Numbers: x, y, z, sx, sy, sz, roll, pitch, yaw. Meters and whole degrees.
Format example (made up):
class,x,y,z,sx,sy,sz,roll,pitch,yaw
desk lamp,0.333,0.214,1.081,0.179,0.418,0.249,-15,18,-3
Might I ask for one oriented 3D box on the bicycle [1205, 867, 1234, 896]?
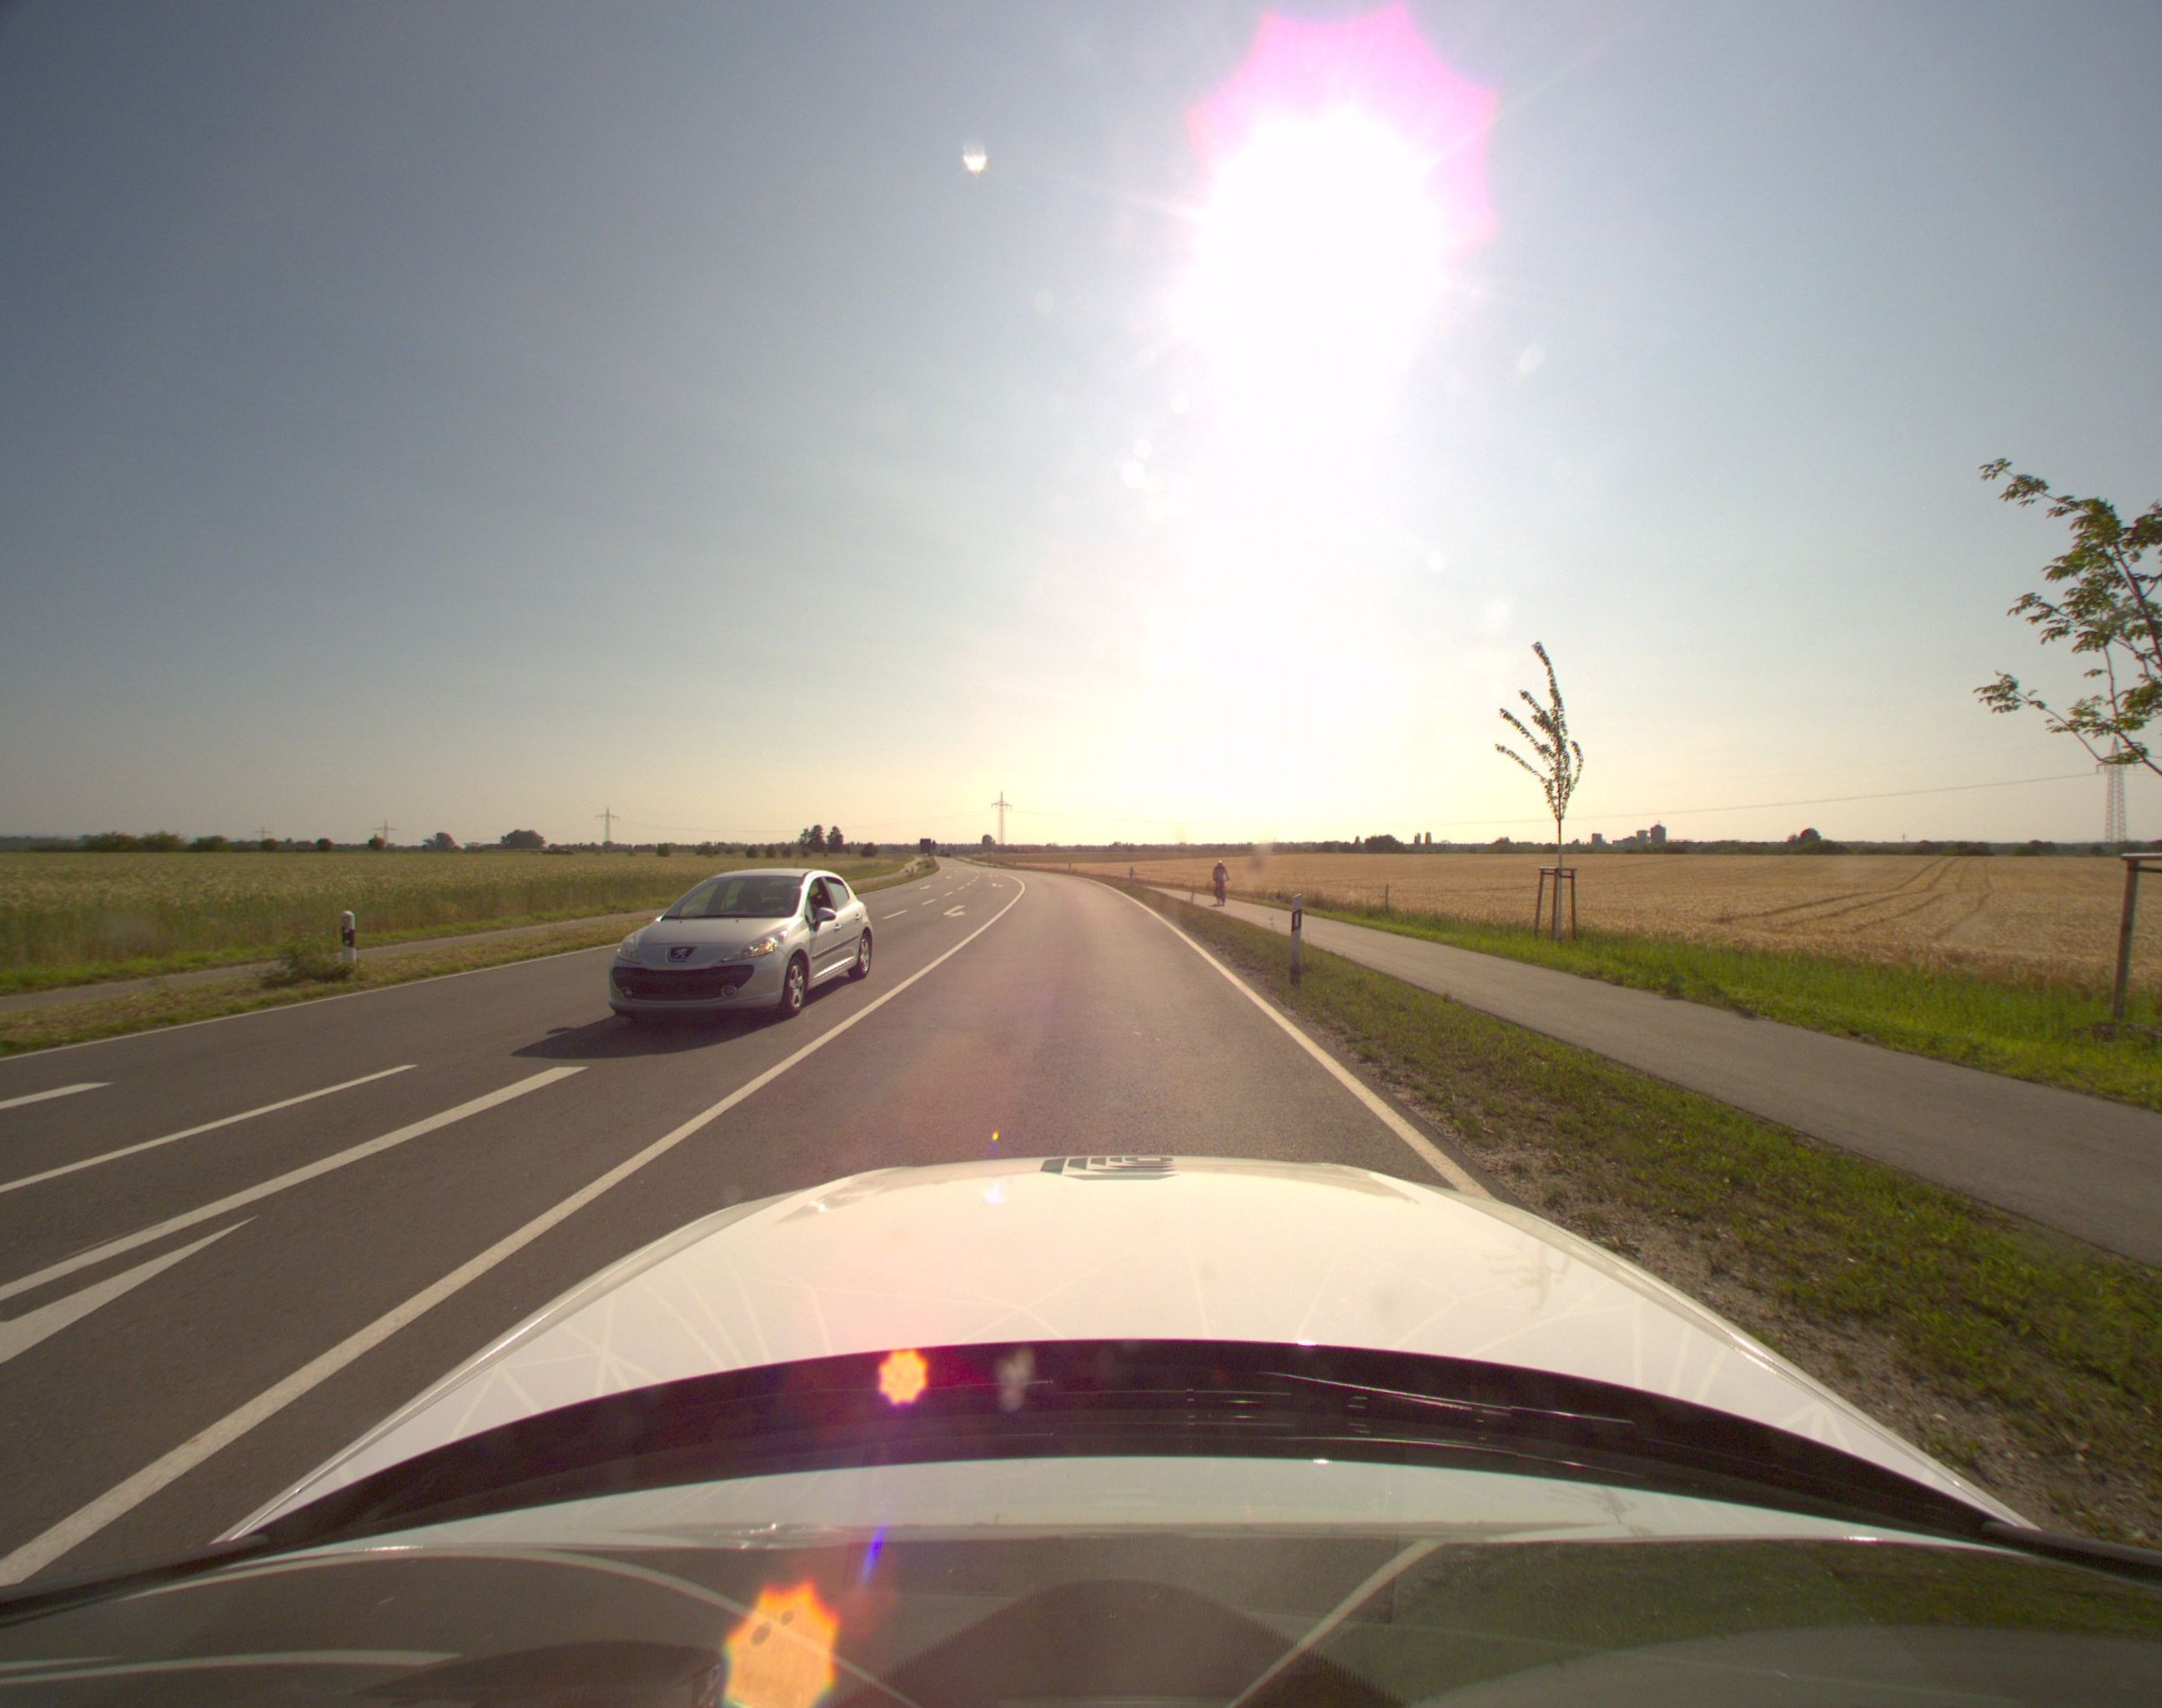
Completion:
class,x,y,z,sx,sy,sz,roll,pitch,yaw
bicycle,5.844,1.141,34.500,0.842,1.142,2.206,2,-1,1

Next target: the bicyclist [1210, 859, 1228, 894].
class,x,y,z,sx,sy,sz,roll,pitch,yaw
bicyclist,5.862,0.961,34.607,0.635,1.457,0.817,2,-1,0

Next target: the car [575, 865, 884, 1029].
class,x,y,z,sx,sy,sz,roll,pitch,yaw
car,-3.657,0.865,9.337,1.680,1.403,4.001,-1,0,1
